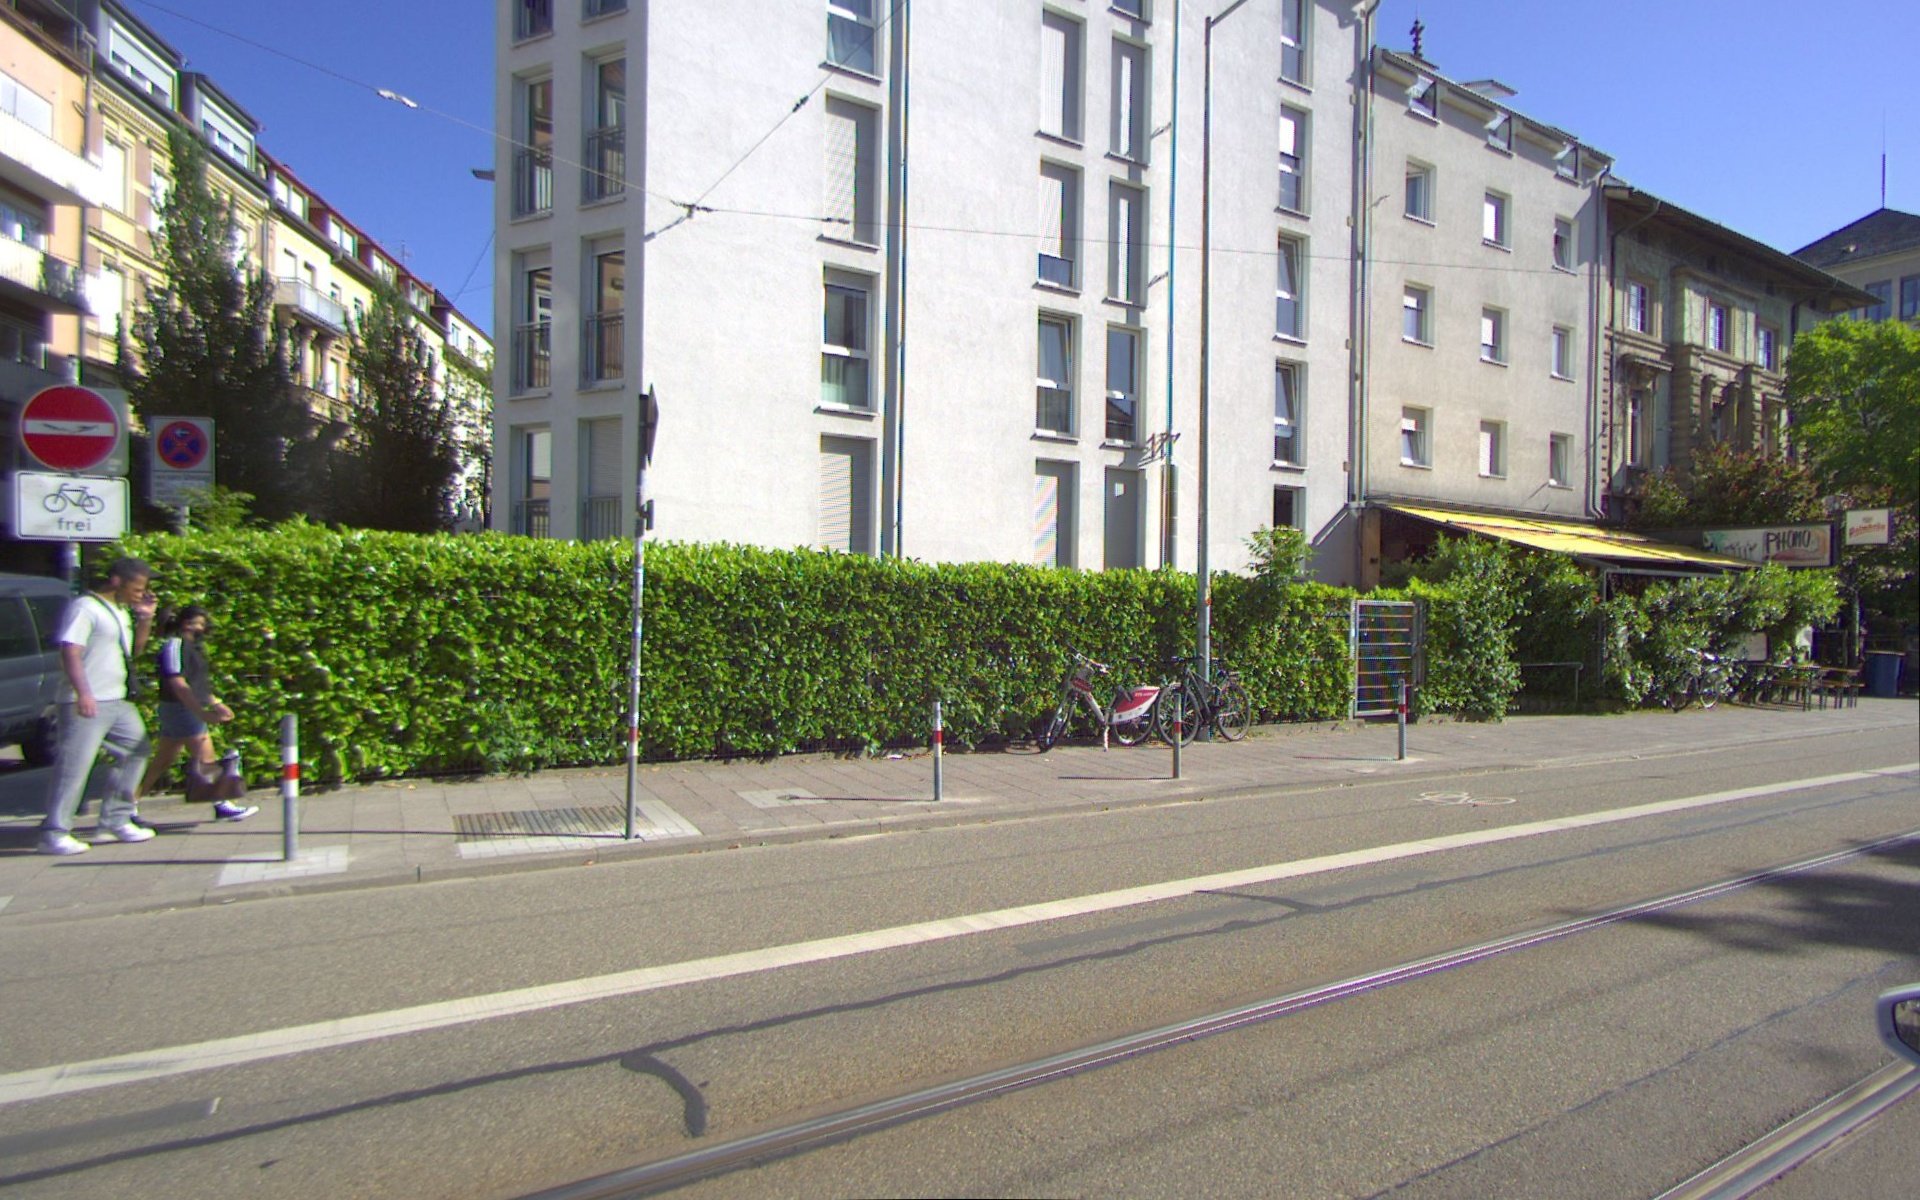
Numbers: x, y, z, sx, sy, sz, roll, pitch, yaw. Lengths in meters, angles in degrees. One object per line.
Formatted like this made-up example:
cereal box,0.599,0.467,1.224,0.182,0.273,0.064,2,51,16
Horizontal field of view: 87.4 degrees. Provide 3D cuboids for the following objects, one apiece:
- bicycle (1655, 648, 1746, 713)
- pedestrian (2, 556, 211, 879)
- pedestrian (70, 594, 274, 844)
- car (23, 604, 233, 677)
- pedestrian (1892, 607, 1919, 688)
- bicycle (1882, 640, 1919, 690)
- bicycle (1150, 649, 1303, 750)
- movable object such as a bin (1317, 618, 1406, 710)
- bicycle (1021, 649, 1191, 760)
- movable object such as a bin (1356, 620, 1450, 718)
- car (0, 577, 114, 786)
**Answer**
bicycle,13.419,1.432,18.198,1.722,1.073,0.635,1,2,-30
pedestrian,-4.977,0.630,5.922,0.798,1.737,0.751,1,1,-30
pedestrian,-5.153,0.729,6.640,0.945,1.498,0.751,1,1,-30
car,-19.659,0.964,23.861,3.549,1.574,1.389,2,-1,-9
pedestrian,22.482,1.106,23.583,0.677,1.856,0.576,1,0,-11
bicycle,23.764,1.595,24.849,1.877,1.159,0.644,1,2,-23
bicycle,3.243,1.178,12.187,1.818,1.104,0.658,2,2,-30
movable object such as a bin,6.715,1.047,16.805,1.244,1.476,0.802,1,-1,-32
bicycle,1.642,1.133,11.211,1.818,1.104,0.658,2,2,-30
movable object such as a bin,6.970,1.049,15.811,1.244,1.476,0.802,1,-1,-32
car,-9.144,0.670,8.005,1.759,1.831,4.048,2,-1,-9
